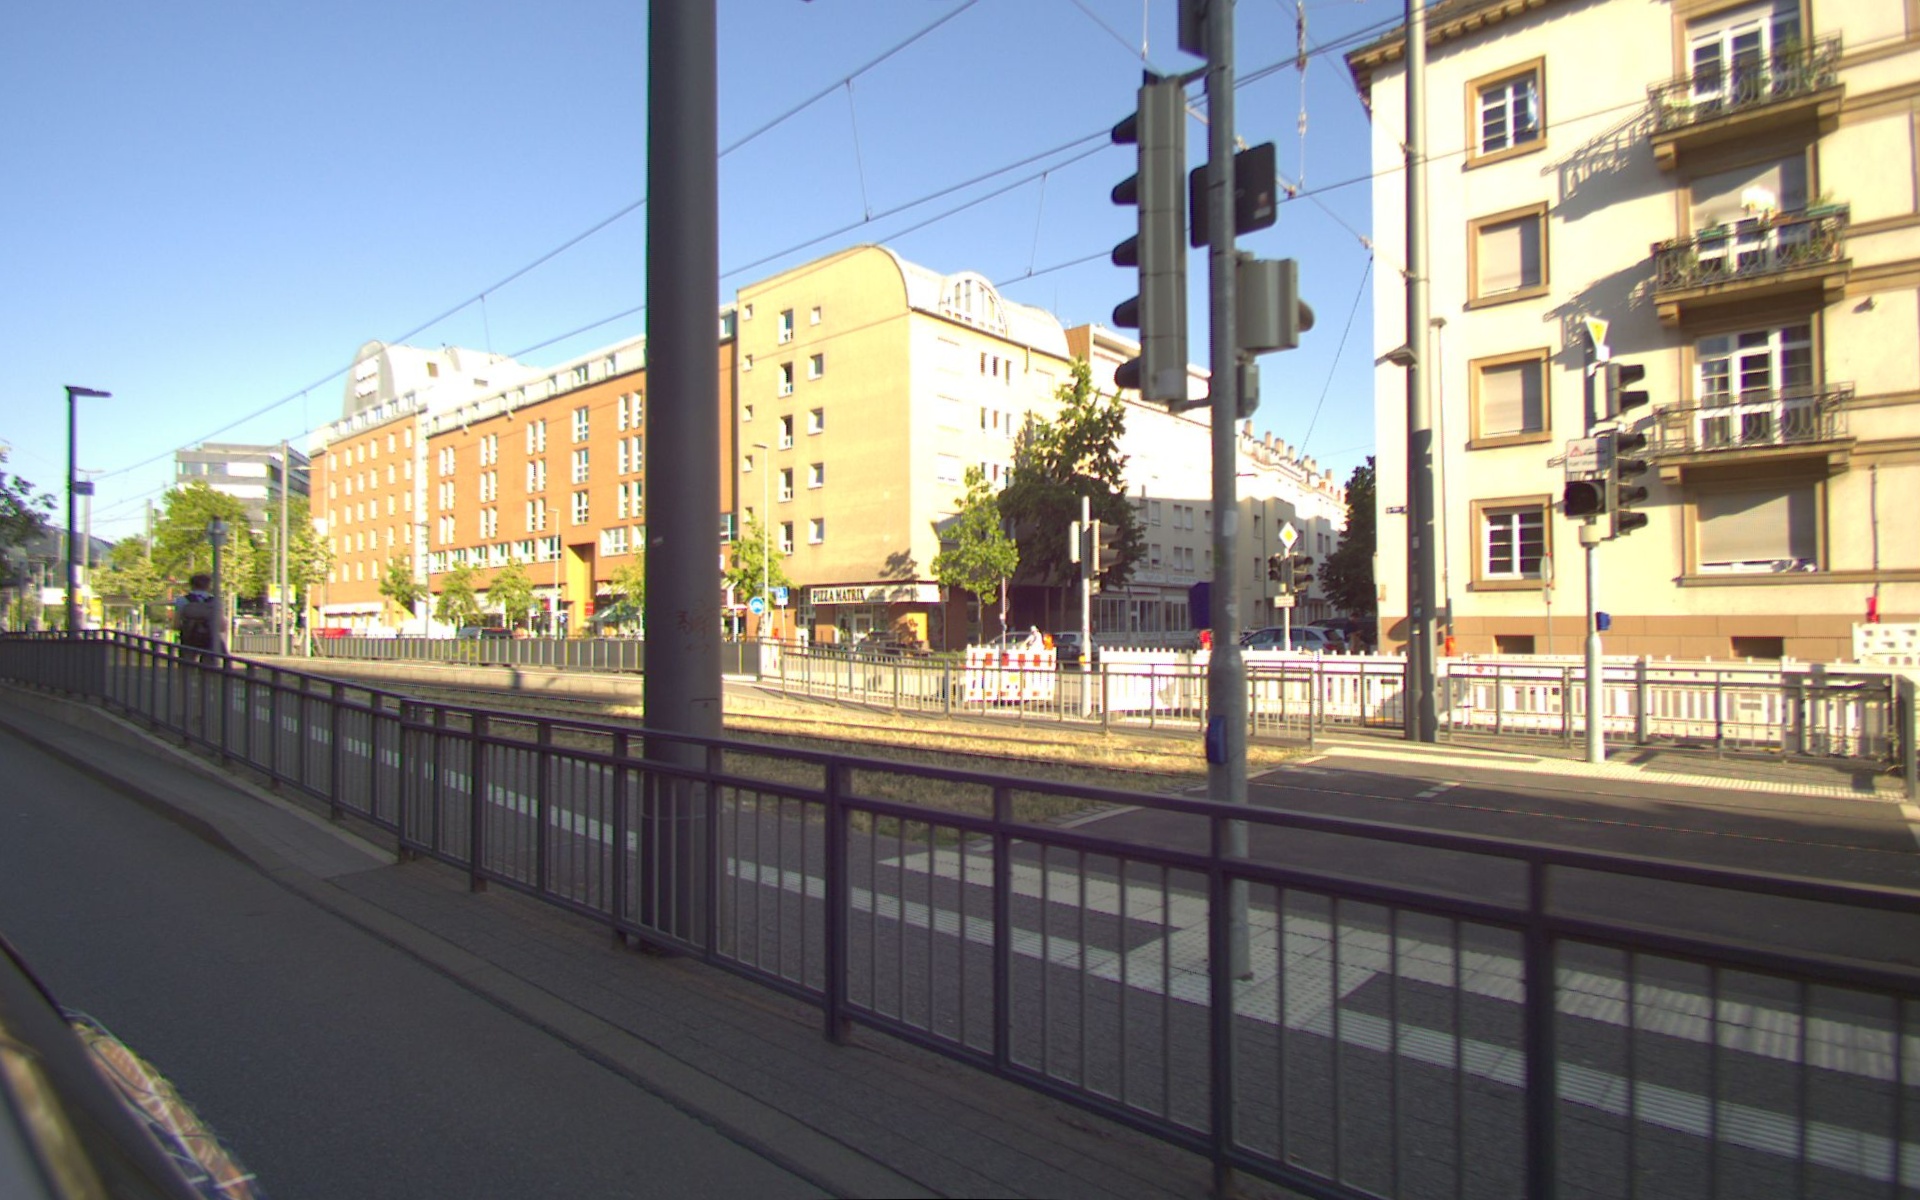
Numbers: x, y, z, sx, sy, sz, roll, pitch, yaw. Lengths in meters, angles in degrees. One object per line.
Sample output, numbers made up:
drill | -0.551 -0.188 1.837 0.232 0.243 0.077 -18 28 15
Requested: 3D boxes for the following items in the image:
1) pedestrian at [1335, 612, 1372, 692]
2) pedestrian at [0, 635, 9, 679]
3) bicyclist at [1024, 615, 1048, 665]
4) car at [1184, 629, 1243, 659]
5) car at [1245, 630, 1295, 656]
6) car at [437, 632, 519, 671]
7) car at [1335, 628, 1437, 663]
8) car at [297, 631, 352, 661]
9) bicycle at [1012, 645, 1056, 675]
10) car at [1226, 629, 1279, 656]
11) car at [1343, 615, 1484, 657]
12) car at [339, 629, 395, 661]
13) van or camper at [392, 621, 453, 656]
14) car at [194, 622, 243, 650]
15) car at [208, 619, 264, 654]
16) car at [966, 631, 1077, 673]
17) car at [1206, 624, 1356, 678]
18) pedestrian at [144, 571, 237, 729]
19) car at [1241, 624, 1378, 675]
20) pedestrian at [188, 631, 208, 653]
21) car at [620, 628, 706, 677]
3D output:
pedestrian | 10.193 1.345 26.216 0.625 2.029 0.792 -3 -3 41
pedestrian | -30.337 1.793 31.884 0.406 1.396 0.425 -1 -2 29
bicyclist | 2.635 1.386 35.059 0.665 1.693 0.481 -2 -2 37
car | 14.211 2.434 56.692 1.839 1.597 4.107 -3 -3 35
car | 19.791 2.729 64.621 1.839 1.597 4.107 -3 -3 35
car | -22.999 2.411 48.182 4.943 1.730 1.971 -2 -2 44
car | 19.505 2.097 46.404 3.991 1.513 1.821 -3 -3 36
car | -41.881 3.038 66.685 4.312 1.881 1.867 -3 -3 40
bicycle | 2.573 2.059 34.946 0.684 0.955 1.720 -2 -2 37
car | 17.544 2.534 60.599 1.839 1.597 4.107 -3 -3 35
car | 17.508 1.413 39.206 4.702 1.513 1.821 -3 -3 36
car | -36.169 2.740 61.680 4.316 1.881 1.865 -3 -3 44
van or camper | -36.671 2.648 68.983 5.614 2.186 1.972 -4 -4 43
car | -62.497 3.034 85.310 5.259 2.306 2.058 -1 -2 39
car | -50.519 2.543 70.546 4.916 2.376 2.024 -2 -2 40
car | 2.446 2.086 40.749 4.148 1.597 1.821 -3 -3 36
car | 10.036 1.594 31.758 4.122 1.597 1.821 -3 -3 36
pedestrian | -8.485 0.530 11.162 0.867 1.655 0.648 0 -1 41
car | 11.719 1.661 33.996 3.991 1.597 1.821 -3 -3 36
pedestrian | -41.007 2.261 54.431 0.906 1.199 0.666 -2 -2 41
car | -13.037 2.273 44.323 1.970 2.029 4.151 1 -3 -43
